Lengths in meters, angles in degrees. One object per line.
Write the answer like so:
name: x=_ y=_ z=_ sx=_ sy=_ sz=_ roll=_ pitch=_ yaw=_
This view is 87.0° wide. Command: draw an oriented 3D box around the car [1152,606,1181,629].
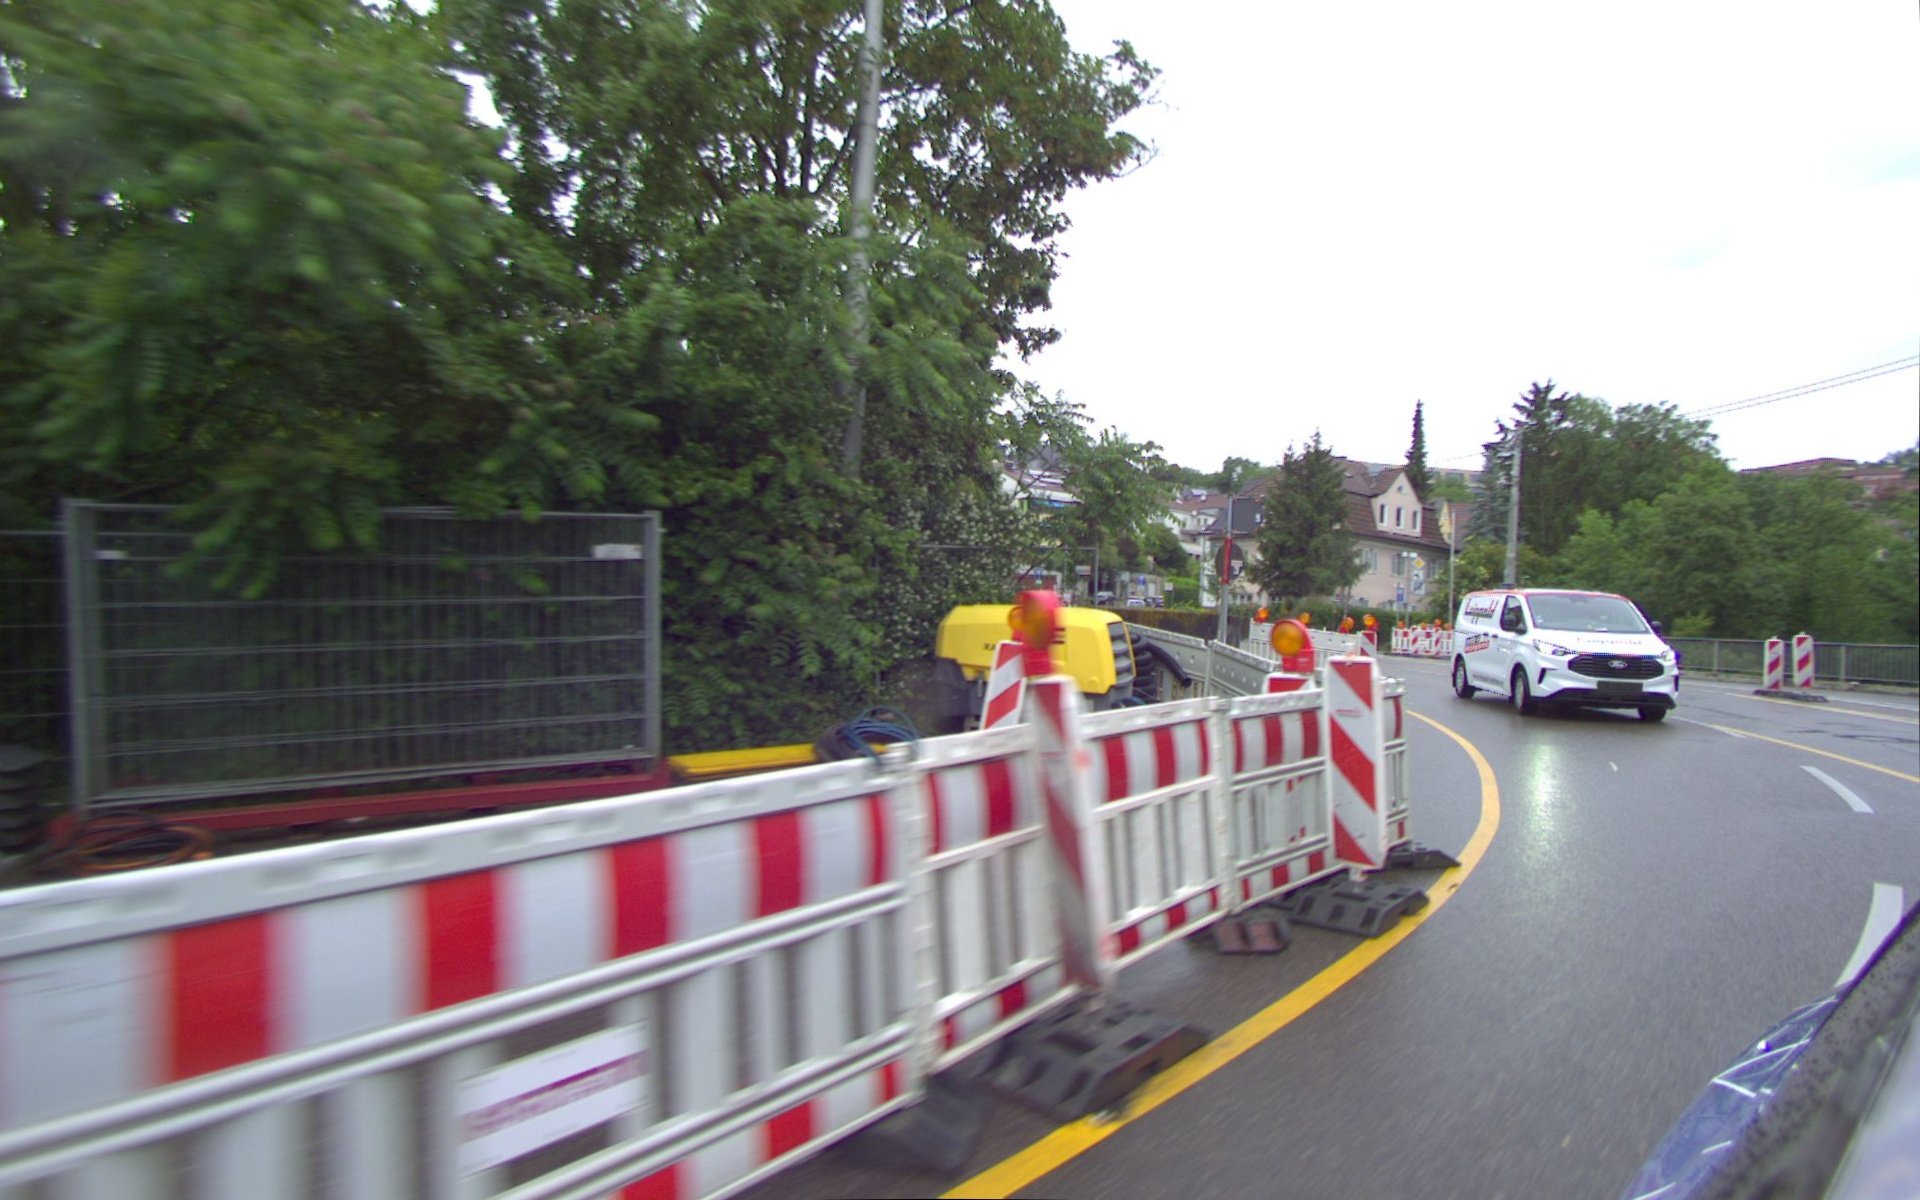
car: x=12.910 y=1.073 z=63.060 sx=1.650 sy=1.282 sz=4.188 roll=4 pitch=1 yaw=12

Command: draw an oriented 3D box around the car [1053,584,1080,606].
car: x=9.611 y=-0.446 z=91.189 sx=1.847 sy=1.683 sz=3.982 roll=4 pitch=-1 yaw=13

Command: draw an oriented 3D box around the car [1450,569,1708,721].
car: x=9.790 y=0.640 z=16.556 sx=1.969 sy=2.039 sz=4.931 roll=2 pitch=0 yaw=11

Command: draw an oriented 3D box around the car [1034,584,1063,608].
car: x=7.340 y=-0.341 z=83.532 sx=1.968 sy=1.682 sz=3.990 roll=4 pitch=3 yaw=10

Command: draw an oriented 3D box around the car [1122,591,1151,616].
car: x=14.010 y=0.216 z=80.522 sx=1.843 sy=1.682 sz=3.995 roll=4 pitch=3 yaw=6

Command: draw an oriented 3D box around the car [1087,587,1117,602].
car: x=14.498 y=-0.582 z=103.430 sx=1.863 sy=1.512 sz=3.964 roll=-1 pitch=1 yaw=27
